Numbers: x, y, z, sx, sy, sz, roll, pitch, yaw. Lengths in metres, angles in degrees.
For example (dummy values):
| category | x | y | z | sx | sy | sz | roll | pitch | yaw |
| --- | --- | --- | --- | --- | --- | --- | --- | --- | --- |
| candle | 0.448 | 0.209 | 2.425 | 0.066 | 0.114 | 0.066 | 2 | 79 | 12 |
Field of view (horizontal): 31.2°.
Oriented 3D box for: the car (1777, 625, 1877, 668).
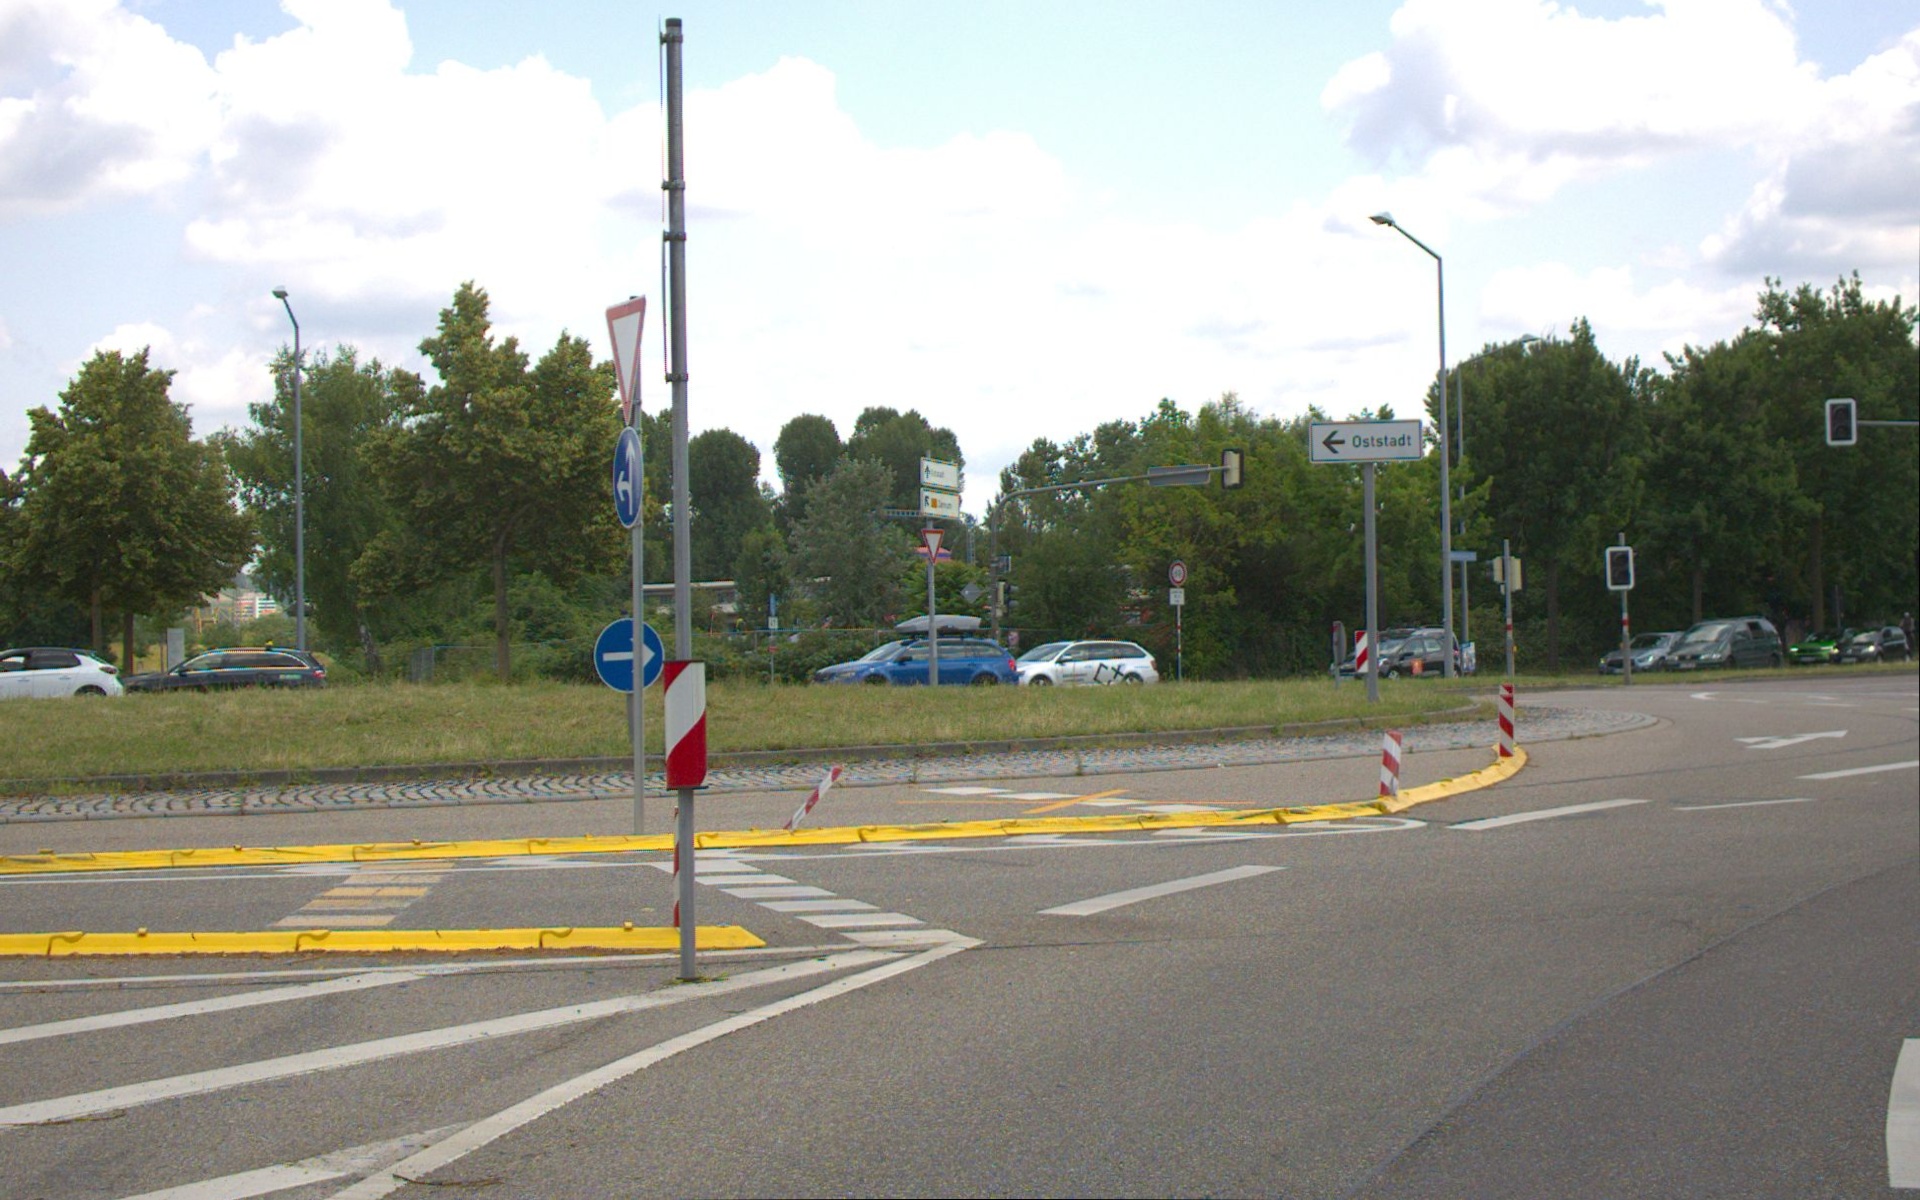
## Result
| category | x | y | z | sx | sy | sz | roll | pitch | yaw |
| --- | --- | --- | --- | --- | --- | --- | --- | --- | --- |
| car | 29.093 | 1.551 | 115.288 | 1.619 | 1.344 | 4.161 | -4 | -3 | 39 |

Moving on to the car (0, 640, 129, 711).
| category | x | y | z | sx | sy | sz | roll | pitch | yaw |
| --- | --- | --- | --- | --- | --- | --- | --- | --- | --- |
| car | -18.639 | 1.492 | 67.627 | 4.296 | 1.325 | 2.000 | -1 | 0 | -17 |

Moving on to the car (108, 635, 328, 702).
| category | x | y | z | sx | sy | sz | roll | pitch | yaw |
| --- | --- | --- | --- | --- | --- | --- | --- | --- | --- |
| car | -15.893 | 1.448 | 73.584 | 4.475 | 1.318 | 1.955 | -1 | 0 | -15 |

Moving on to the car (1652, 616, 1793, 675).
| category | x | y | z | sx | sy | sz | roll | pitch | yaw |
| --- | --- | --- | --- | --- | --- | --- | --- | --- | --- |
| car | 21.047 | 1.241 | 94.793 | 1.912 | 1.587 | 4.581 | -2 | -1 | 39 |

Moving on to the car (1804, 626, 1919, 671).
| category | x | y | z | sx | sy | sz | roll | pitch | yaw |
| --- | --- | --- | --- | --- | --- | --- | --- | --- | --- |
| car | 29.311 | 1.564 | 111.404 | 1.842 | 1.306 | 4.776 | -4 | -3 | 40 |

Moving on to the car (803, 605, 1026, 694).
| category | x | y | z | sx | sy | sz | roll | pitch | yaw |
| --- | --- | --- | --- | --- | --- | --- | --- | --- | --- |
| car | -0.974 | 1.033 | 73.261 | 4.392 | 1.792 | 1.756 | -1 | 0 | -22 |

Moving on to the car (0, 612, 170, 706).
| category | x | y | z | sx | sy | sz | roll | pitch | yaw |
| --- | --- | --- | --- | --- | --- | --- | --- | --- | --- |
| car | -20.485 | 1.320 | 77.645 | 4.711 | 2.007 | 1.999 | -1 | 0 | -37 |

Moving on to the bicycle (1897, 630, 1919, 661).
| category | x | y | z | sx | sy | sz | roll | pitch | yaw |
| --- | --- | --- | --- | --- | --- | --- | --- | --- | --- |
| bicycle | 38.311 | 1.822 | 137.679 | 0.762 | 1.215 | 2.012 | 1 | 0 | 38 |

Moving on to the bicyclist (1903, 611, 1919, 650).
| category | x | y | z | sx | sy | sz | roll | pitch | yaw |
| --- | --- | --- | --- | --- | --- | --- | --- | --- | --- |
| bicyclist | 38.392 | 1.227 | 137.779 | 0.832 | 1.559 | 0.881 | 1 | 0 | 38 |

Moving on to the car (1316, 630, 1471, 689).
| category | x | y | z | sx | sy | sz | roll | pitch | yaw |
| --- | --- | --- | --- | --- | --- | --- | --- | --- | --- |
| car | 11.130 | 1.524 | 88.100 | 3.969 | 1.336 | 1.802 | -1 | -2 | -44 |

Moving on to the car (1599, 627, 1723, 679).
| category | x | y | z | sx | sy | sz | roll | pitch | yaw |
| --- | --- | --- | --- | --- | --- | --- | --- | --- | --- |
| car | 20.135 | 1.510 | 98.605 | 1.909 | 1.418 | 4.182 | -1 | -1 | 36 |

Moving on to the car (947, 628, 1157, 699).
| category | x | y | z | sx | sy | sz | roll | pitch | yaw |
| --- | --- | --- | --- | --- | --- | --- | --- | --- | --- |
| car | 2.159 | 1.466 | 80.288 | 4.493 | 1.516 | 2.124 | -1 | 0 | -34 |
